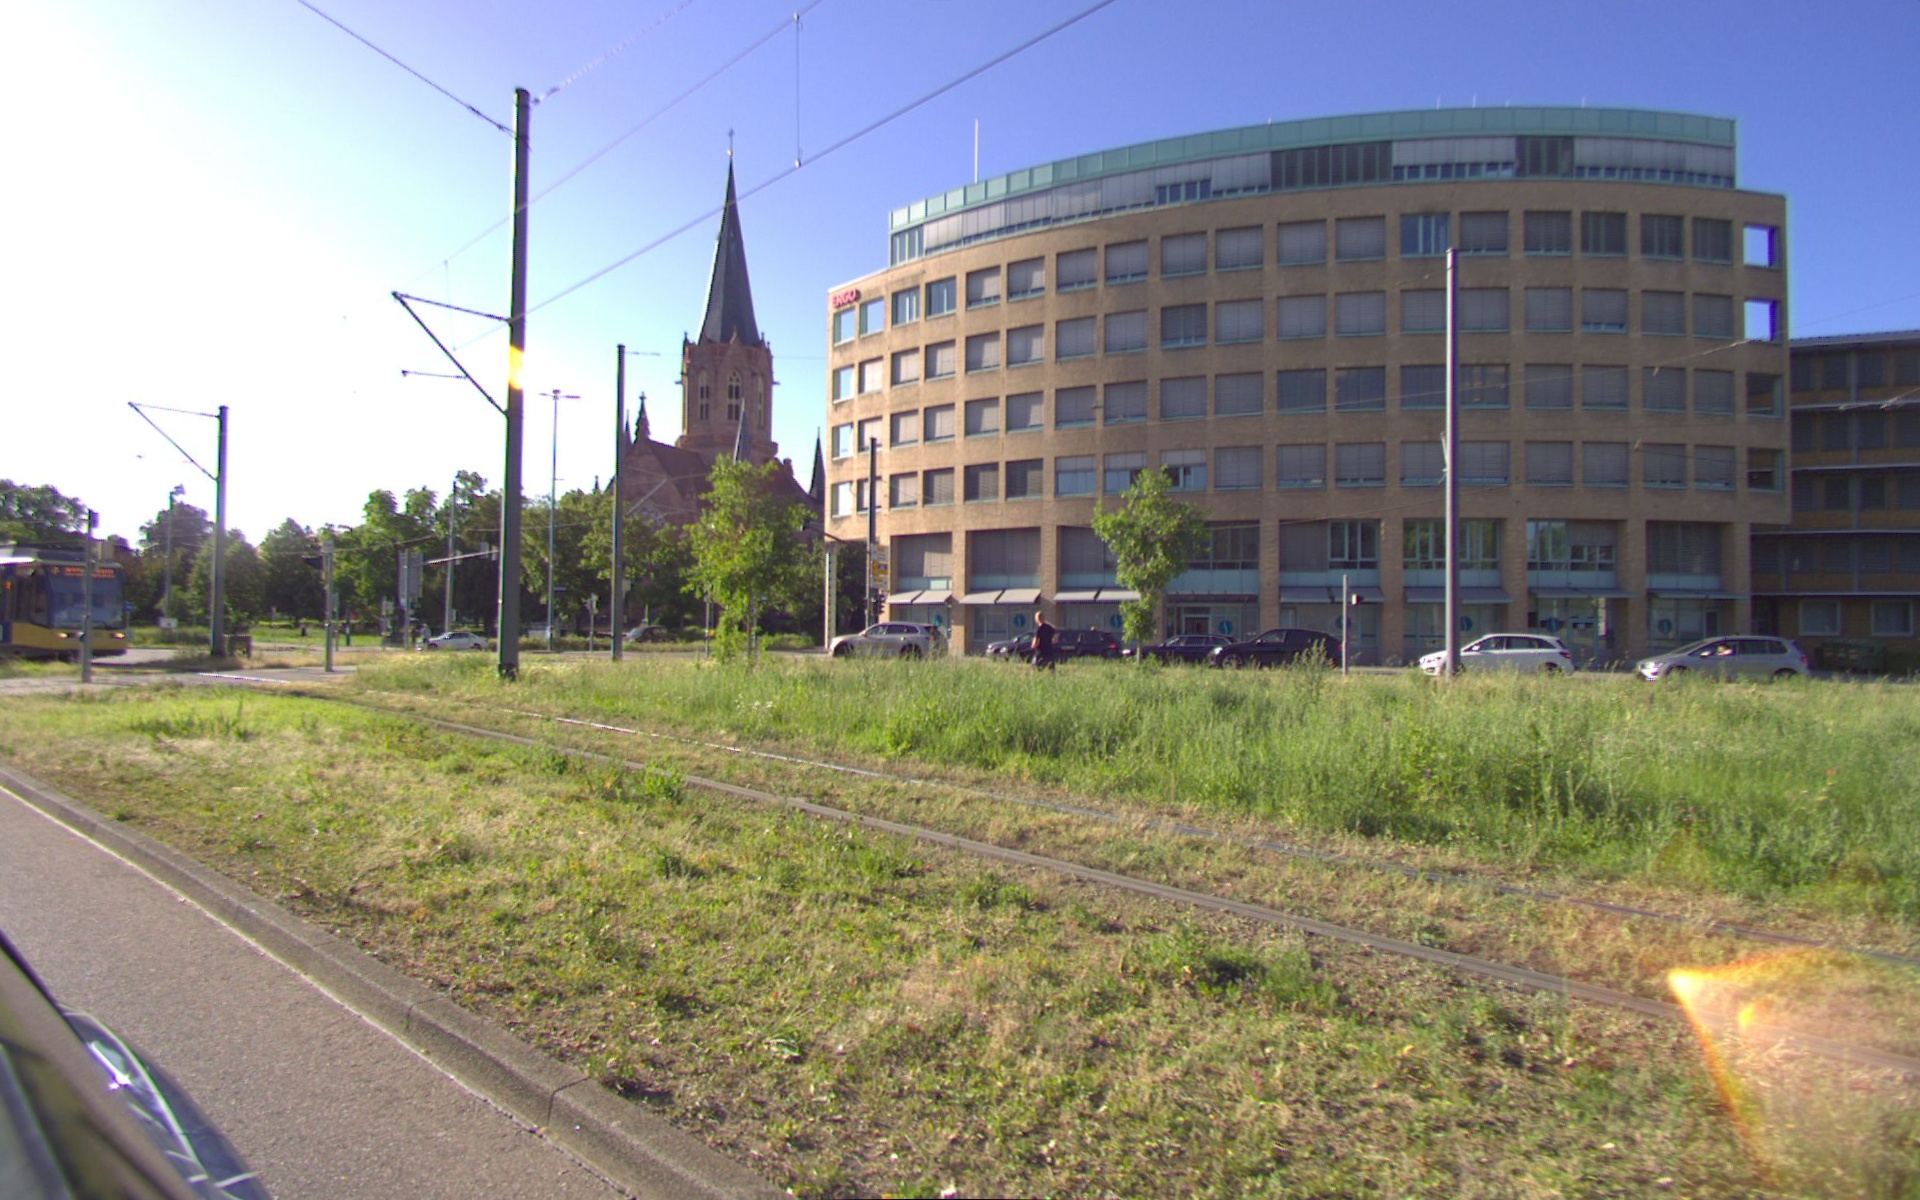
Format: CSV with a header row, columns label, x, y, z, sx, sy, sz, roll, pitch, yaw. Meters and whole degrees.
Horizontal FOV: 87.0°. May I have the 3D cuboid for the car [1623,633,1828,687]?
label,x,y,z,sx,sy,sz,roll,pitch,yaw
car,22.830,1.753,30.395,4.472,1.438,1.989,0,0,18

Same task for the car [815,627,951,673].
label,x,y,z,sx,sy,sz,roll,pitch,yaw
car,-3.053,1.972,40.471,5.048,1.747,2.092,-1,-2,20

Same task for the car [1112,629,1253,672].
label,x,y,z,sx,sy,sz,roll,pitch,yaw
car,8.528,1.885,38.826,4.990,1.458,1.984,0,0,25

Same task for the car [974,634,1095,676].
label,x,y,z,sx,sy,sz,roll,pitch,yaw
car,3.434,2.493,46.485,5.175,1.681,2.109,0,0,22

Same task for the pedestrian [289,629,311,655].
label,x,y,z,sx,sy,sz,roll,pitch,yaw
pedestrian,-47.766,3.048,73.276,1.107,1.860,0.839,0,0,19

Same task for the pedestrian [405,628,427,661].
label,x,y,z,sx,sy,sz,roll,pitch,yaw
pedestrian,-34.374,2.828,63.979,0.919,2.029,0.872,0,0,23

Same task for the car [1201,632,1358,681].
label,x,y,z,sx,sy,sz,roll,pitch,yaw
car,10.995,1.892,34.857,4.990,1.458,1.984,0,0,25

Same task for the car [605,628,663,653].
label,x,y,z,sx,sy,sz,roll,pitch,yaw
car,-23.046,2.869,71.765,1.826,1.586,3.912,0,0,23

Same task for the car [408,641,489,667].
label,x,y,z,sx,sy,sz,roll,pitch,yaw
car,-34.838,3.652,68.985,4.644,1.586,1.770,0,0,-44

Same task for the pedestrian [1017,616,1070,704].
label,x,y,z,sx,sy,sz,roll,pitch,yaw
pedestrian,1.633,1.161,19.899,0.725,1.683,0.745,1,-2,-42

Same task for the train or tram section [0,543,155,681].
label,x,y,z,sx,sy,sz,roll,pitch,yaw
train or tram section,-30.148,0.443,31.292,13.113,3.713,2.933,-1,-1,26

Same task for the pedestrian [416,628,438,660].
label,x,y,z,sx,sy,sz,roll,pitch,yaw
pedestrian,-34.136,2.822,64.860,0.919,2.029,0.872,0,0,23

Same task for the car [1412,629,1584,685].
label,x,y,z,sx,sy,sz,roll,pitch,yaw
car,17.182,1.787,32.586,4.622,1.608,1.987,0,0,21

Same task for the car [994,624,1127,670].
label,x,y,z,sx,sy,sz,roll,pitch,yaw
car,3.743,1.704,37.661,4.628,1.528,1.986,0,0,21
